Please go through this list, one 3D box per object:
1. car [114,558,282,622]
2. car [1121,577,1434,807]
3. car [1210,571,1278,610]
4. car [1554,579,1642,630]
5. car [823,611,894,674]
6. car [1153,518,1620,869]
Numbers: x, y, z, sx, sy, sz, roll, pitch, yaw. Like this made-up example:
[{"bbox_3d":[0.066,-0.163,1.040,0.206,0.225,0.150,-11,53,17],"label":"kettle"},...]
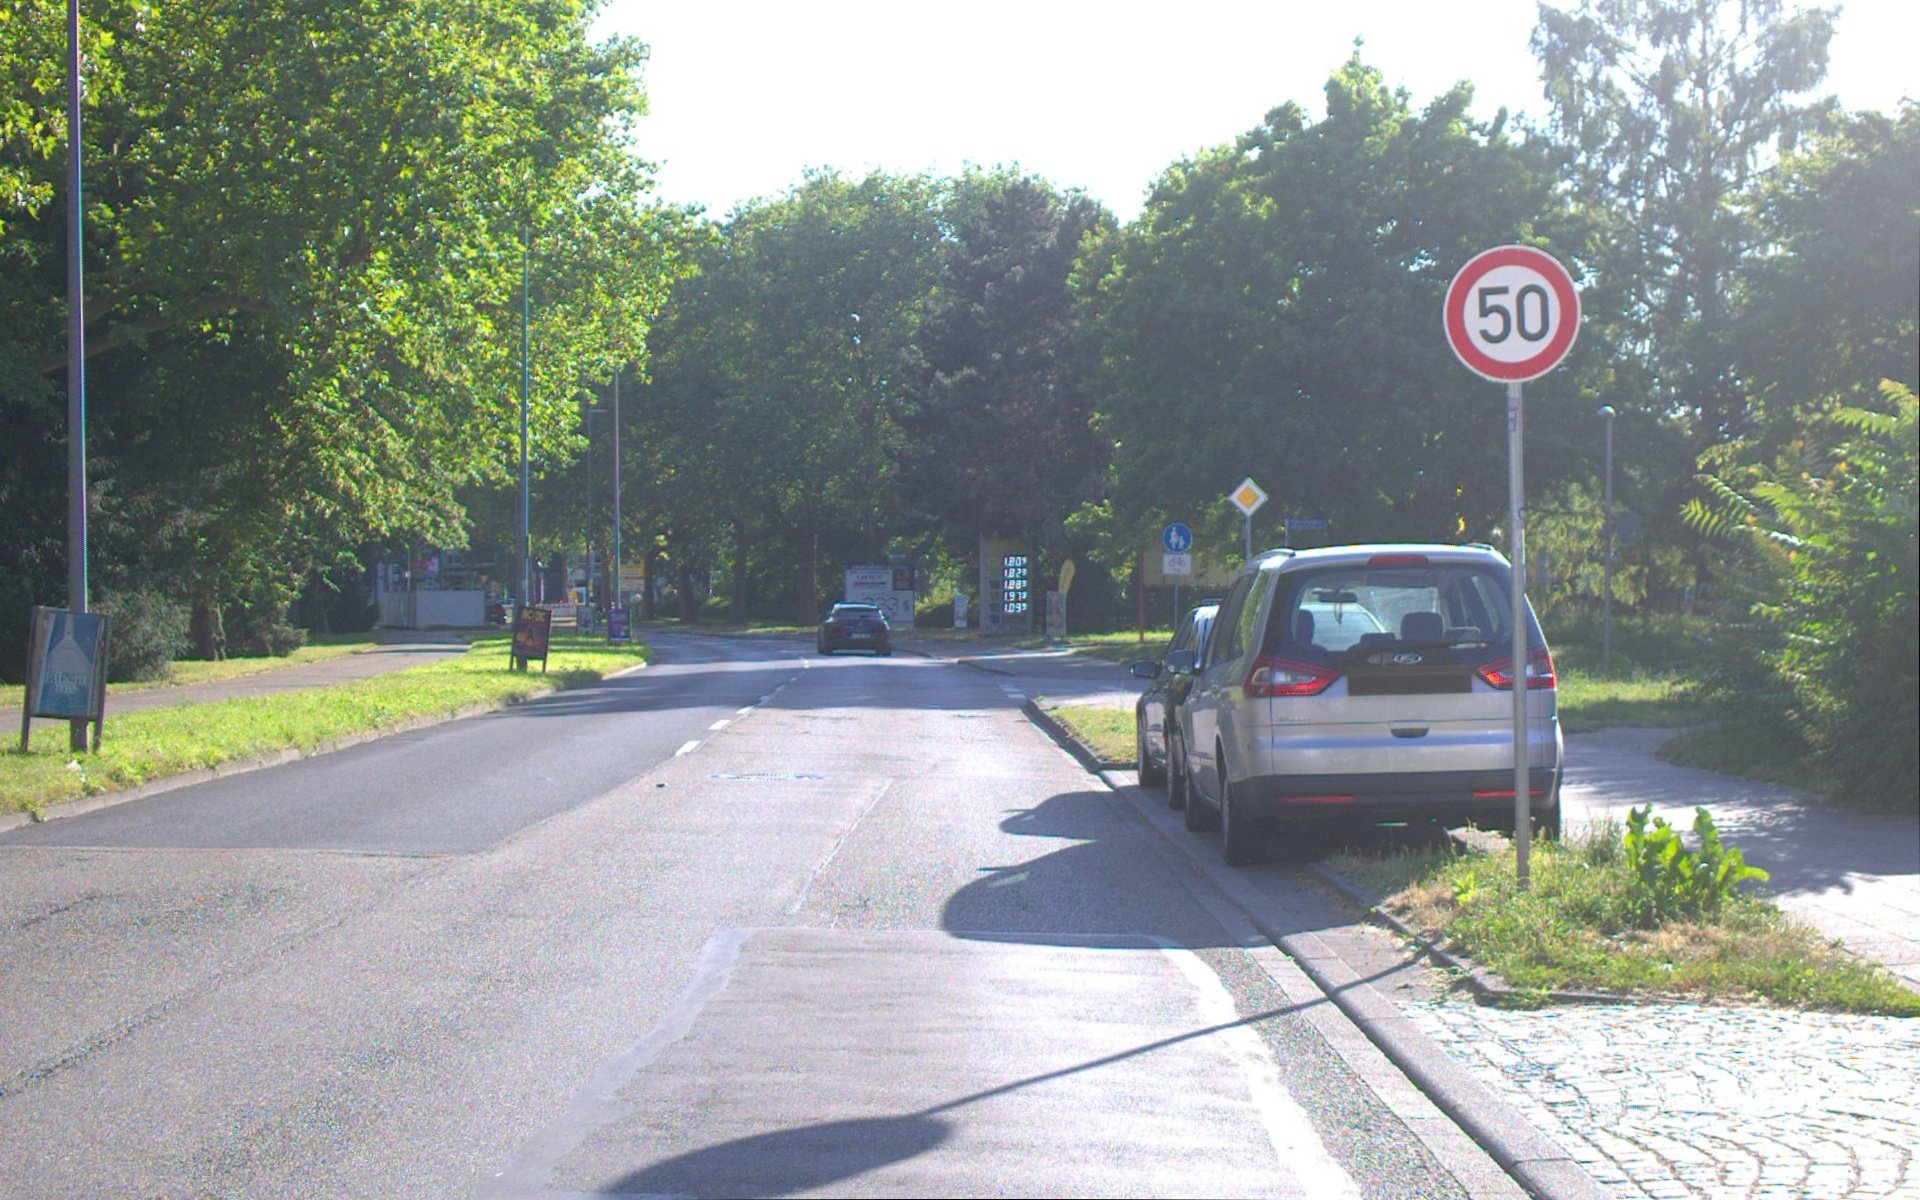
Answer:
[{"bbox_3d":[-19.269,-0.251,87.053,3.986,1.503,1.913,1,0,-8],"label":"car"},{"bbox_3d":[2.249,0.612,25.511,1.782,1.510,4.689,-1,0,-1],"label":"car"},{"bbox_3d":[10.321,-0.362,125.220,1.841,1.415,4.001,0,0,-5],"label":"car"},{"bbox_3d":[23.542,0.165,126.985,1.812,1.722,4.399,3,0,-8],"label":"car"},{"bbox_3d":[-2.730,1.137,93.040,1.839,1.600,3.863,-1,0,0],"label":"car"},{"bbox_3d":[2.342,0.474,20.229,1.993,1.753,4.917,-2,0,-1],"label":"car"}]
